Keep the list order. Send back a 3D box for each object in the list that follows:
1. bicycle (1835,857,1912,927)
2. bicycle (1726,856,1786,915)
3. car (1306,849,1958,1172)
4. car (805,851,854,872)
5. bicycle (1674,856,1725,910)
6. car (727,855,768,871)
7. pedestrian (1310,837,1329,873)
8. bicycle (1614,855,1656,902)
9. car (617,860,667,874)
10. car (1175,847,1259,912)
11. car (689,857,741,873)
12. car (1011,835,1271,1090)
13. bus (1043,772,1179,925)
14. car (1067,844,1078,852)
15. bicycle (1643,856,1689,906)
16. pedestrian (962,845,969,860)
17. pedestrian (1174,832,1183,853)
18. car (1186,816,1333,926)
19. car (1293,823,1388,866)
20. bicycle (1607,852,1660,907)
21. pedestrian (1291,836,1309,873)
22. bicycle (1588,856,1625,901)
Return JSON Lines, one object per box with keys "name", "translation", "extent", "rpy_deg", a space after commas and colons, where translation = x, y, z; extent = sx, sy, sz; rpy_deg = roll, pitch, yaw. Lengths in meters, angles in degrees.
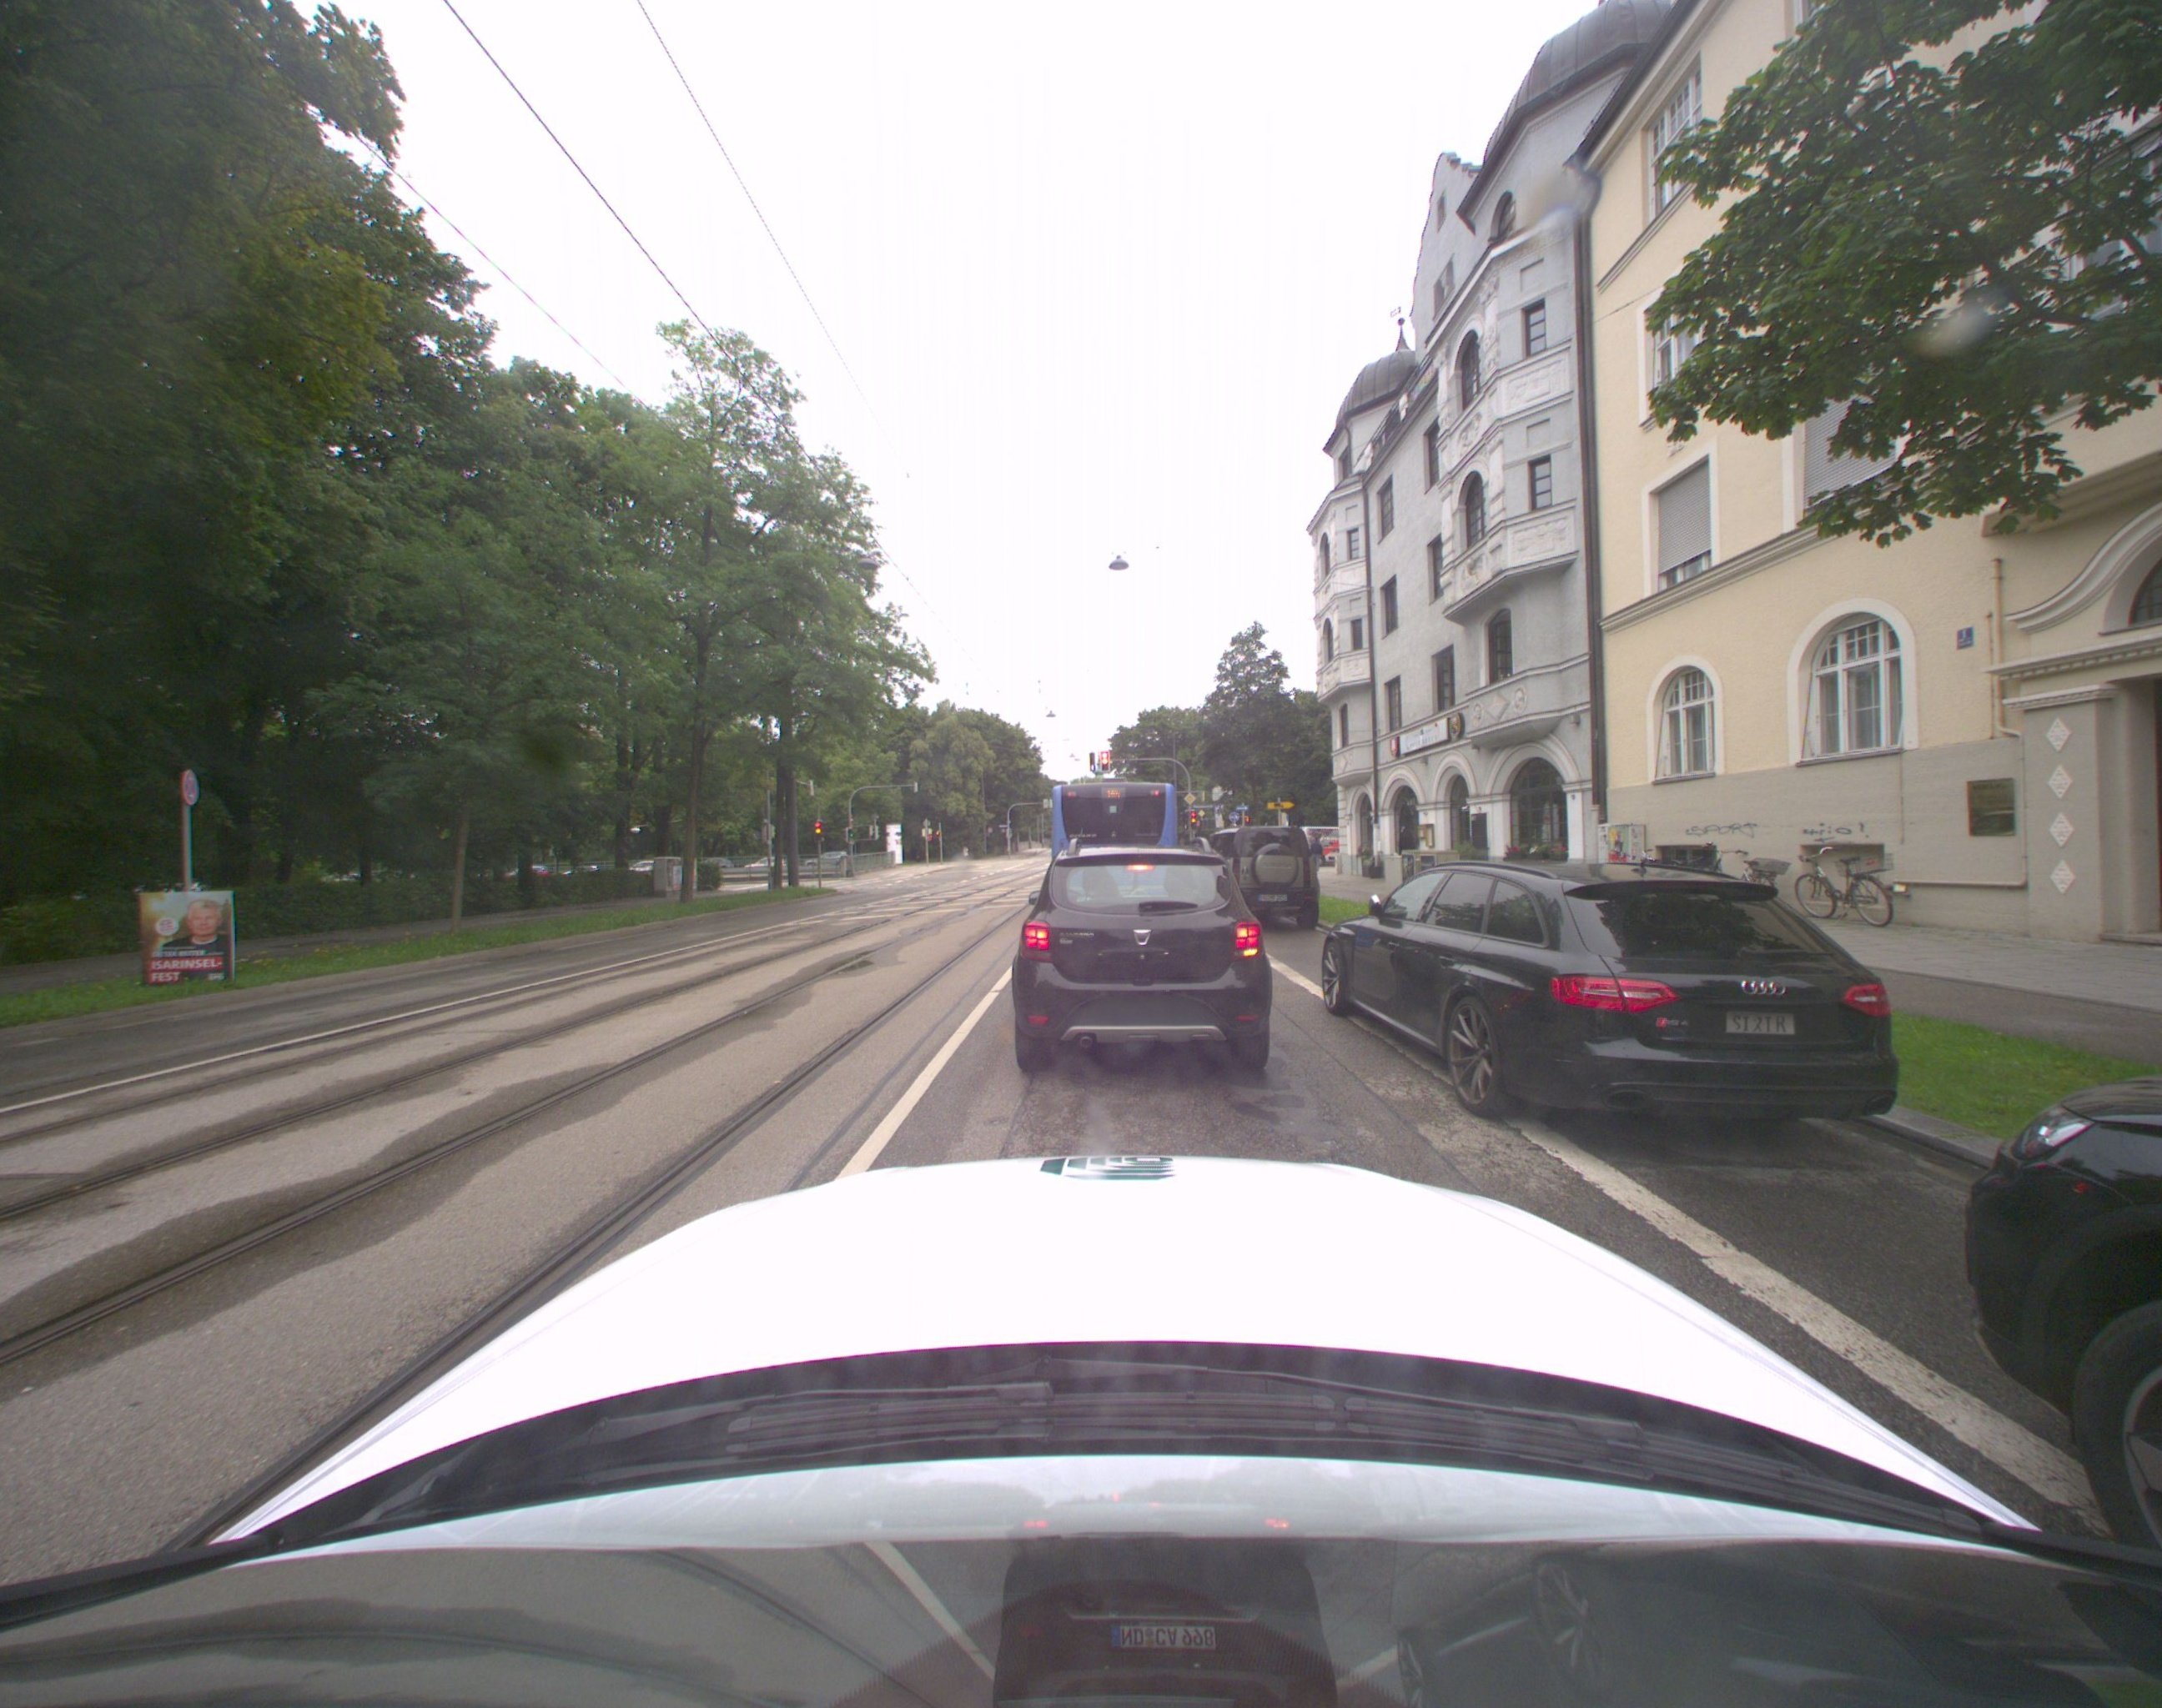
{"name": "bicycle", "translation": [10.986, 0.509, 11.307], "extent": [0.220, 0.930, 0.886], "rpy_deg": [0, 0, 1]}
{"name": "bicycle", "translation": [10.997, 0.504, 13.290], "extent": [0.284, 0.930, 0.886], "rpy_deg": [0, 0, 3]}
{"name": "car", "translation": [3.067, 0.690, 5.901], "extent": [1.709, 1.426, 4.603], "rpy_deg": [0, 0, 1]}
{"name": "car", "translation": [-22.859, 0.691, 74.083], "extent": [4.015, 1.887, 1.488], "rpy_deg": [0, 0, -5]}
{"name": "bicycle", "translation": [11.097, 0.503, 14.625], "extent": [0.271, 0.930, 0.886], "rpy_deg": [0, 0, 3]}
{"name": "car", "translation": [-30.061, 0.833, 73.427], "extent": [3.103, 1.452, 1.249], "rpy_deg": [0, 0, -4]}
{"name": "pedestrian", "translation": [11.671, 0.065, 39.860], "extent": [0.702, 1.732, 0.843], "rpy_deg": [0, 0, 2]}
{"name": "bicycle", "translation": [11.252, 0.484, 16.554], "extent": [0.289, 0.930, 0.886], "rpy_deg": [0, 0, 3]}
{"name": "car", "translation": [-39.398, 1.164, 73.140], "extent": [3.719, 1.185, 1.249], "rpy_deg": [0, 0, -3]}
{"name": "car", "translation": [3.570, 0.612, 22.104], "extent": [1.708, 1.591, 4.329], "rpy_deg": [0, 0, 2]}
{"name": "car", "translation": [-32.981, 1.020, 73.396], "extent": [3.915, 1.404, 1.719], "rpy_deg": [0, 0, -3]}
{"name": "car", "translation": [0.409, 0.661, 6.749], "extent": [1.595, 1.556, 3.526], "rpy_deg": [0, 0, 1]}
{"name": "bus", "translation": [0.589, -0.120, 19.451], "extent": [2.670, 2.997, 6.960], "rpy_deg": [0, 0, 0]}
{"name": "car", "translation": [-1.448, -0.960, 136.876], "extent": [1.782, 1.370, 3.400], "rpy_deg": [0, 0, 0]}
{"name": "bicycle", "translation": [11.189, 0.505, 15.594], "extent": [0.304, 0.930, 0.886], "rpy_deg": [0, 0, 4]}
{"name": "pedestrian", "translation": [-11.747, -0.175, 82.856], "extent": [0.529, 1.501, 0.589], "rpy_deg": [0, 0, 6]}
{"name": "pedestrian", "translation": [10.102, -1.234, 84.180], "extent": [0.760, 2.116, 0.854], "rpy_deg": [-3, 0, 2]}
{"name": "car", "translation": [3.411, 0.295, 16.522], "extent": [1.908, 1.905, 4.807], "rpy_deg": [0, 0, 0]}
{"name": "car", "translation": [16.287, -0.595, 51.229], "extent": [5.281, 2.612, 2.229], "rpy_deg": [0, 0, -2]}
{"name": "bicycle", "translation": [10.810, 0.483, 15.974], "extent": [0.241, 1.039, 1.224], "rpy_deg": [0, 0, 2]}
{"name": "pedestrian", "translation": [10.874, 0.037, 40.472], "extent": [0.702, 1.816, 0.870], "rpy_deg": [0, 0, 2]}
{"name": "bicycle", "translation": [11.281, 0.512, 17.491], "extent": [0.258, 0.930, 0.886], "rpy_deg": [0, 0, 3]}
